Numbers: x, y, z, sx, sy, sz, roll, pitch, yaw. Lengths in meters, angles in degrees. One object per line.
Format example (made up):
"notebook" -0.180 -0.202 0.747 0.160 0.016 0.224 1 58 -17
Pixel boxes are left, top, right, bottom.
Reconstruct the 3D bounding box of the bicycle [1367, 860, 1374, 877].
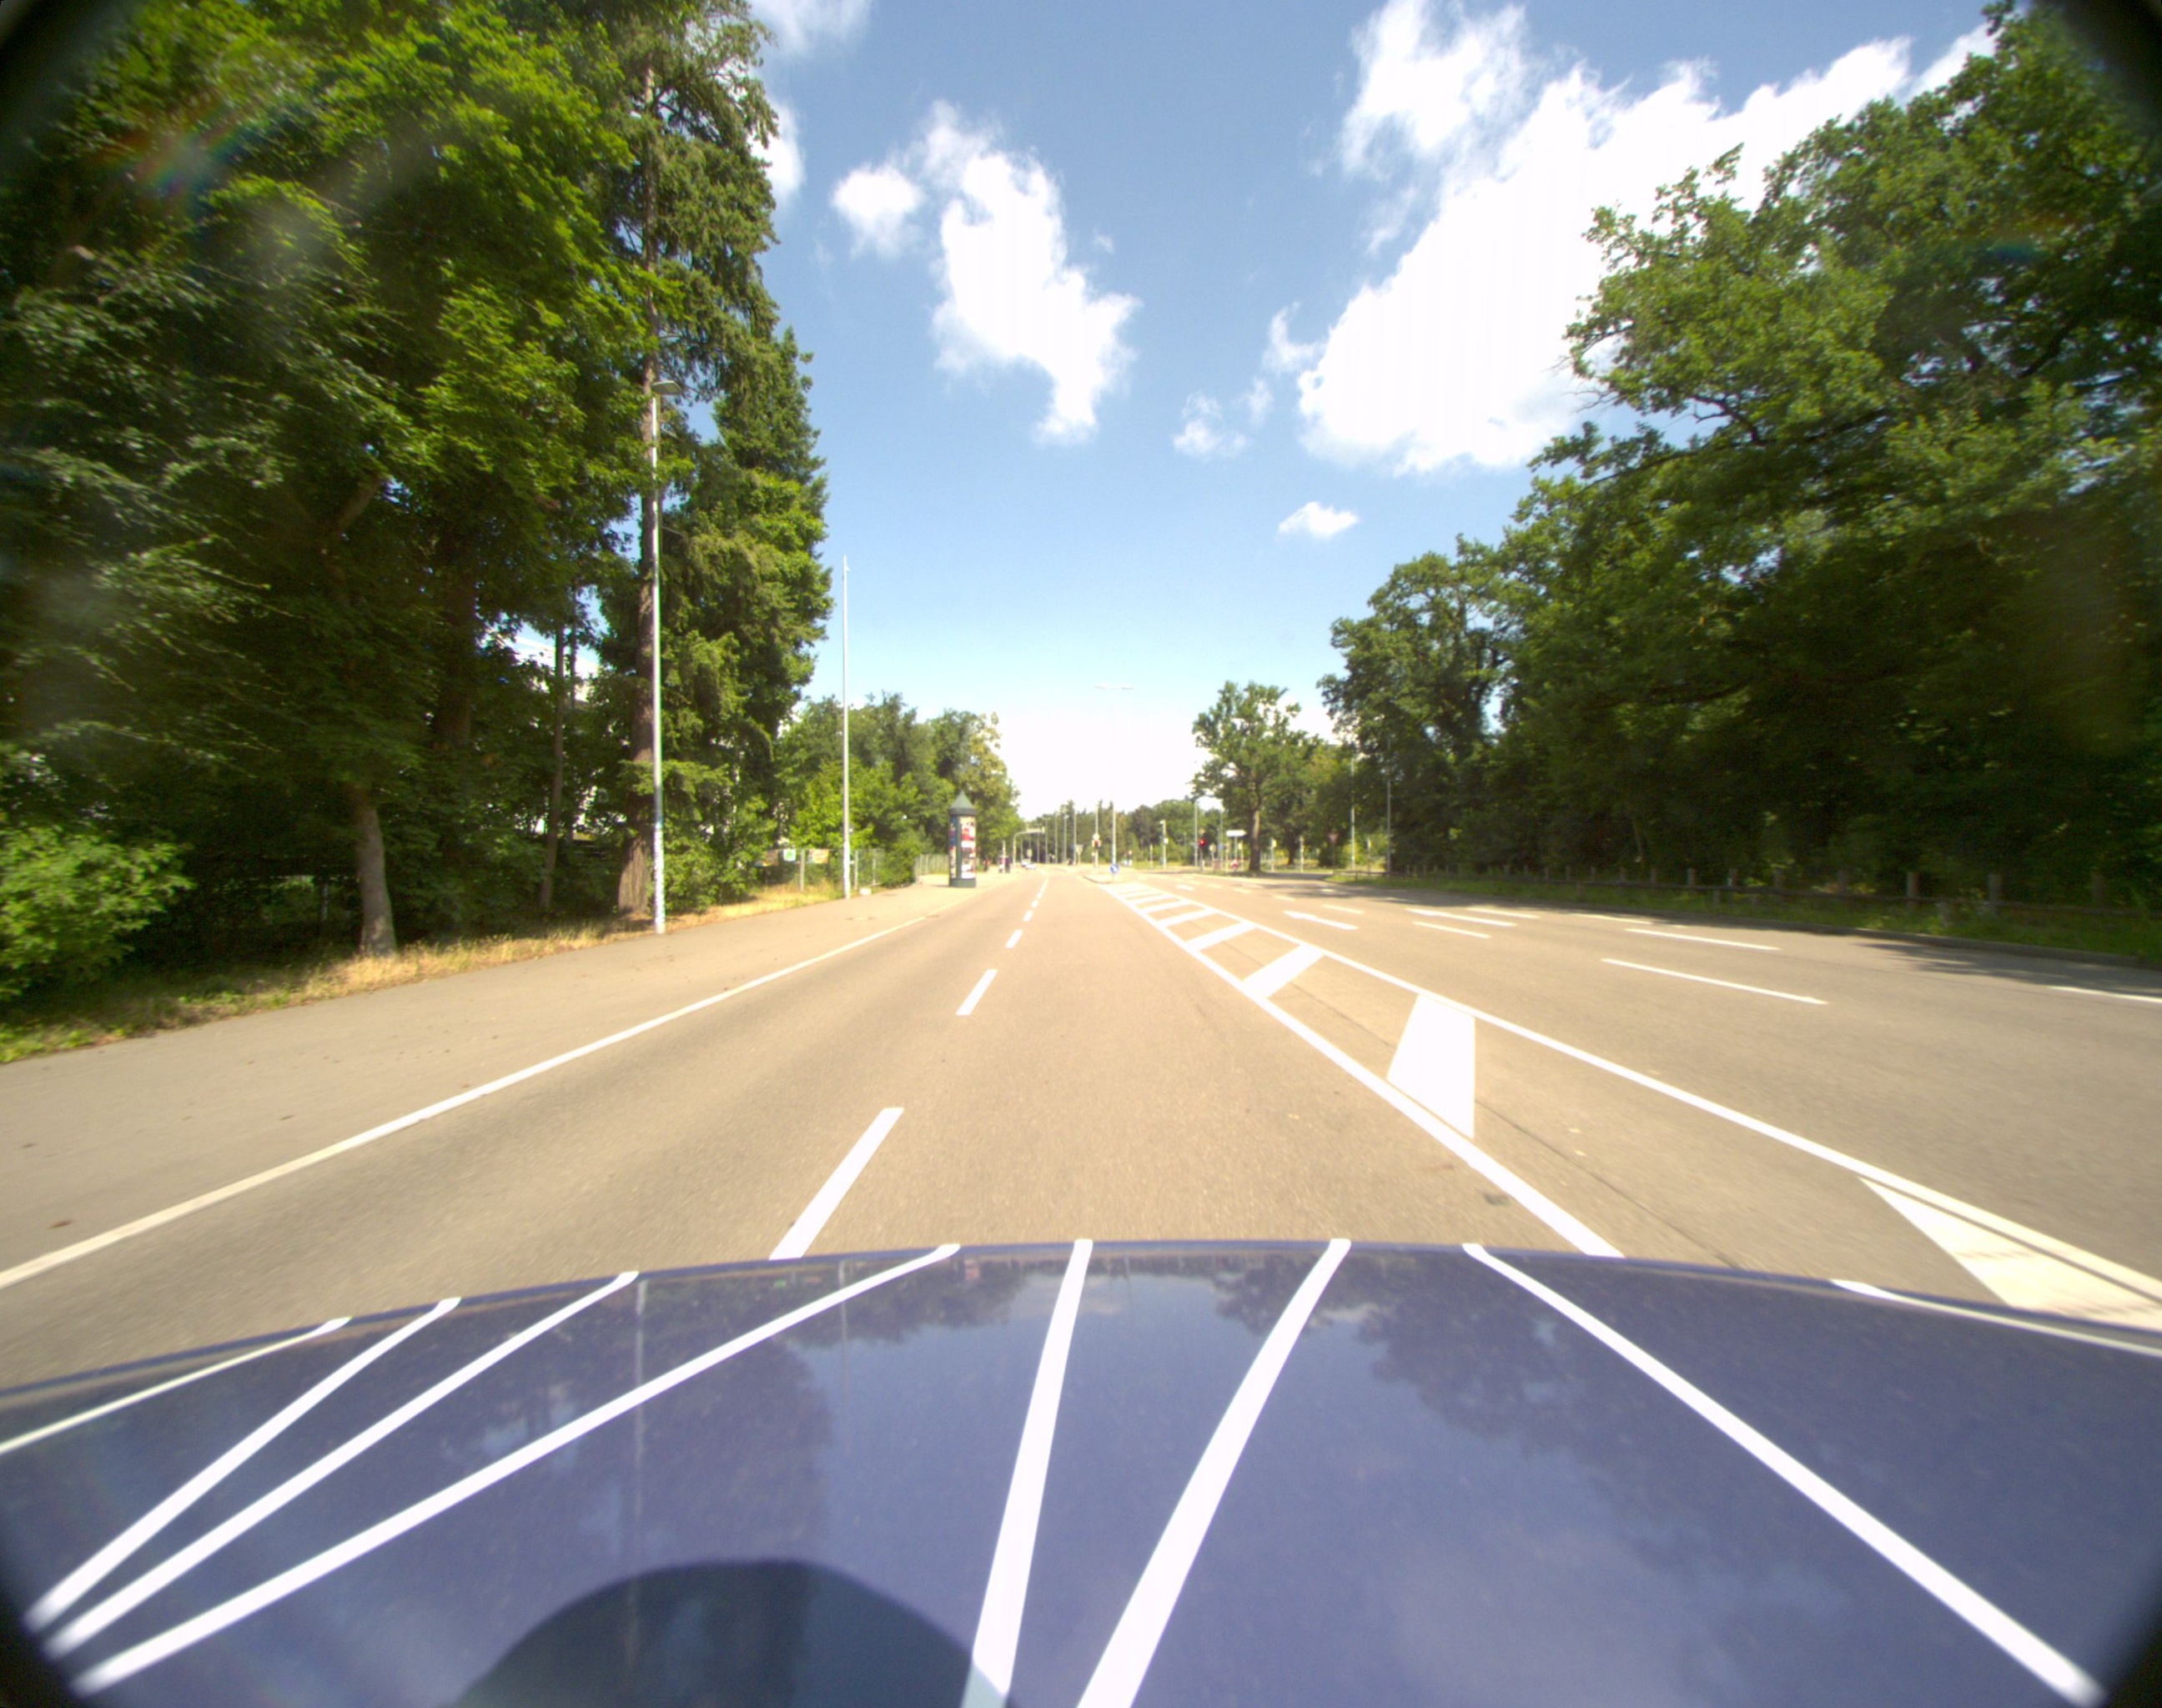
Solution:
"bicycle" 21.282 1.053 55.886 0.420 1.166 1.231 -1 0 20

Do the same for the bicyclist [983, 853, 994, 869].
"bicyclist" -10.879 0.825 89.343 0.885 1.787 0.980 -1 1 20

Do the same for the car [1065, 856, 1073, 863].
"car" -3.109 1.384 201.478 1.980 1.754 4.707 -2 -1 -2

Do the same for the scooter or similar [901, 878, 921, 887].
"scooter or similar" -9.595 1.603 42.899 0.855 0.386 1.473 1 1 -4

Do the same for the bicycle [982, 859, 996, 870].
"bicycle" -10.819 1.268 89.479 0.881 1.199 1.900 -1 0 20

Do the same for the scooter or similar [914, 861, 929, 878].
"scooter or similar" -11.731 1.157 55.951 0.406 1.193 1.314 0 -1 25
